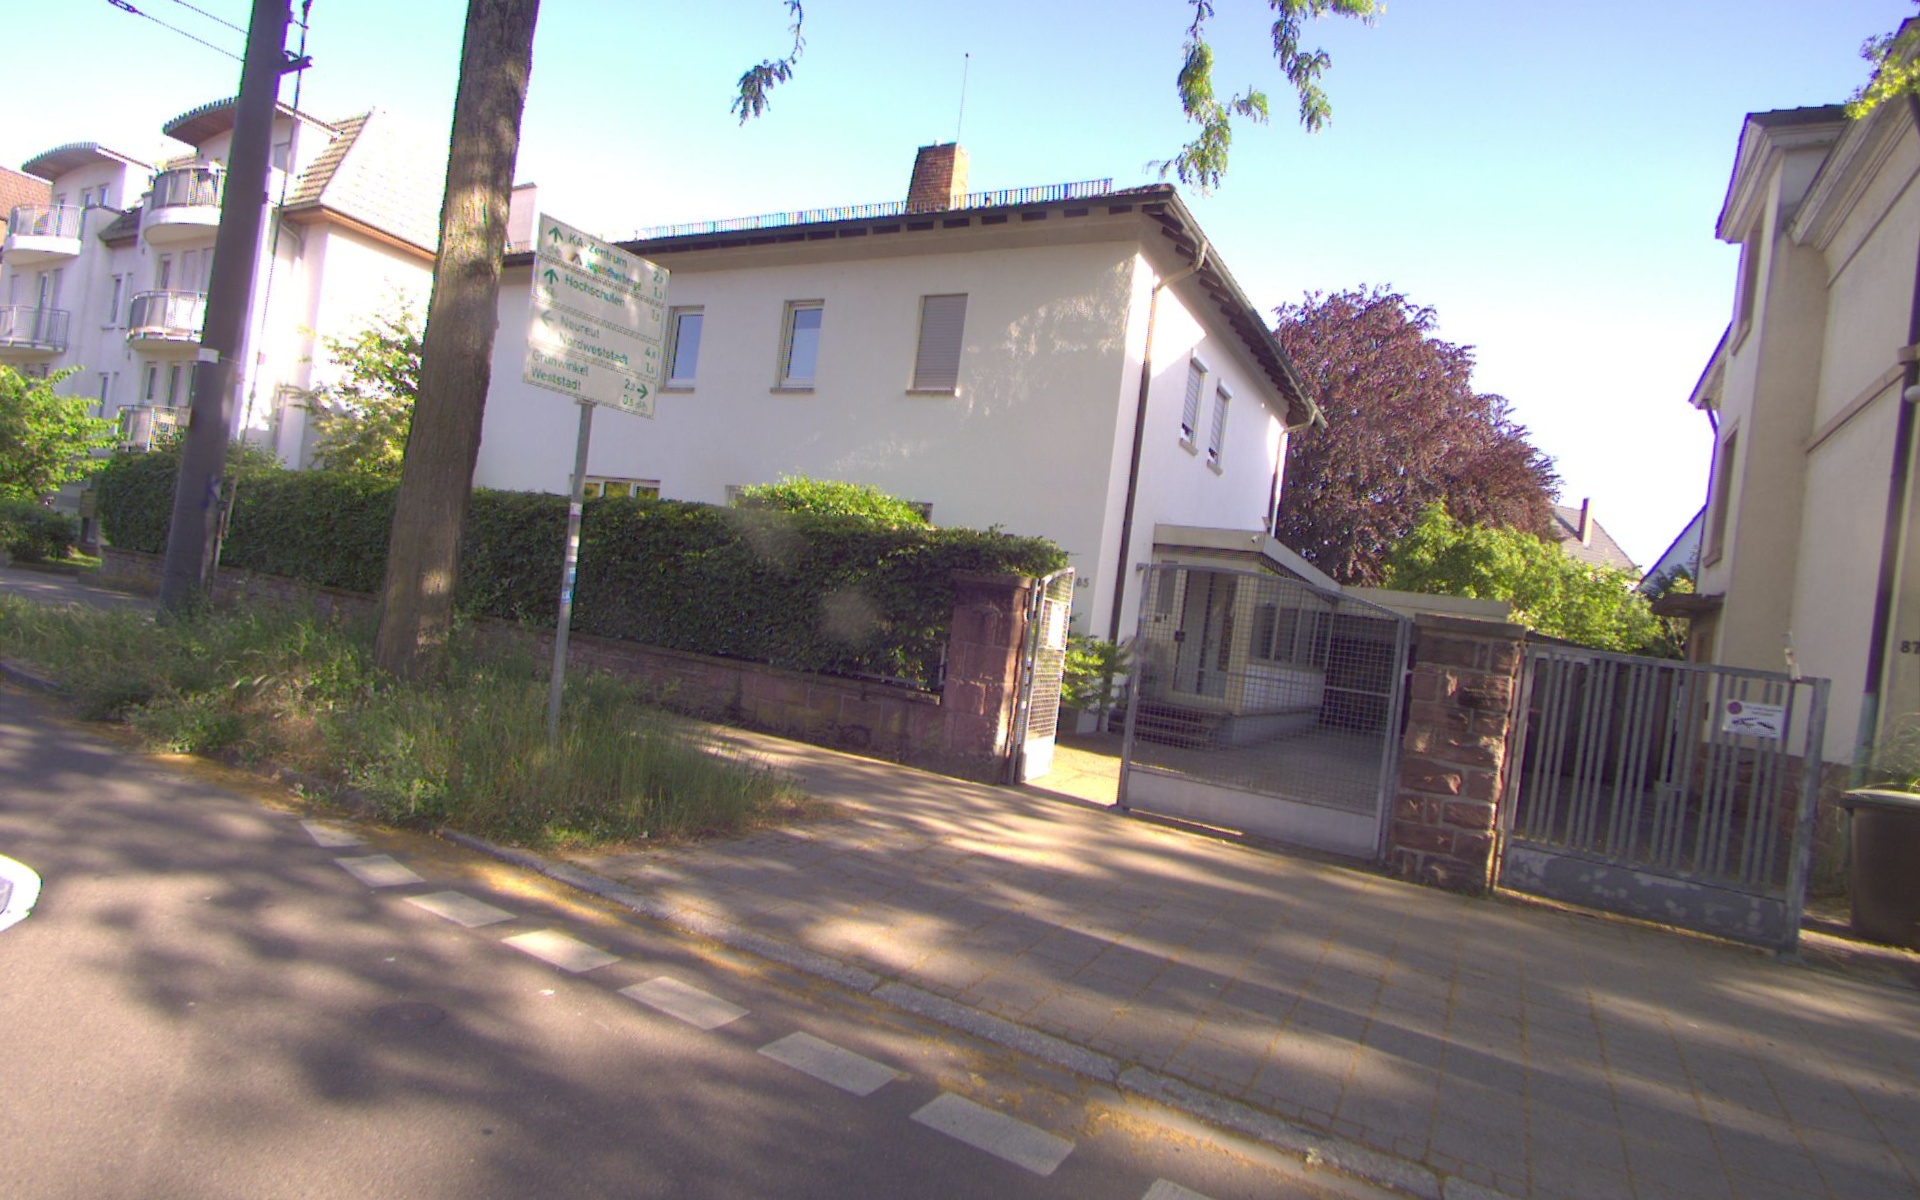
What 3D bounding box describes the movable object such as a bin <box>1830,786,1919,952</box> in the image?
[{"bbox_3d":[6.889,1.948,7.327,0.652,1.060,0.640,8,-1,-38],"label":"movable object such as a bin"}]
